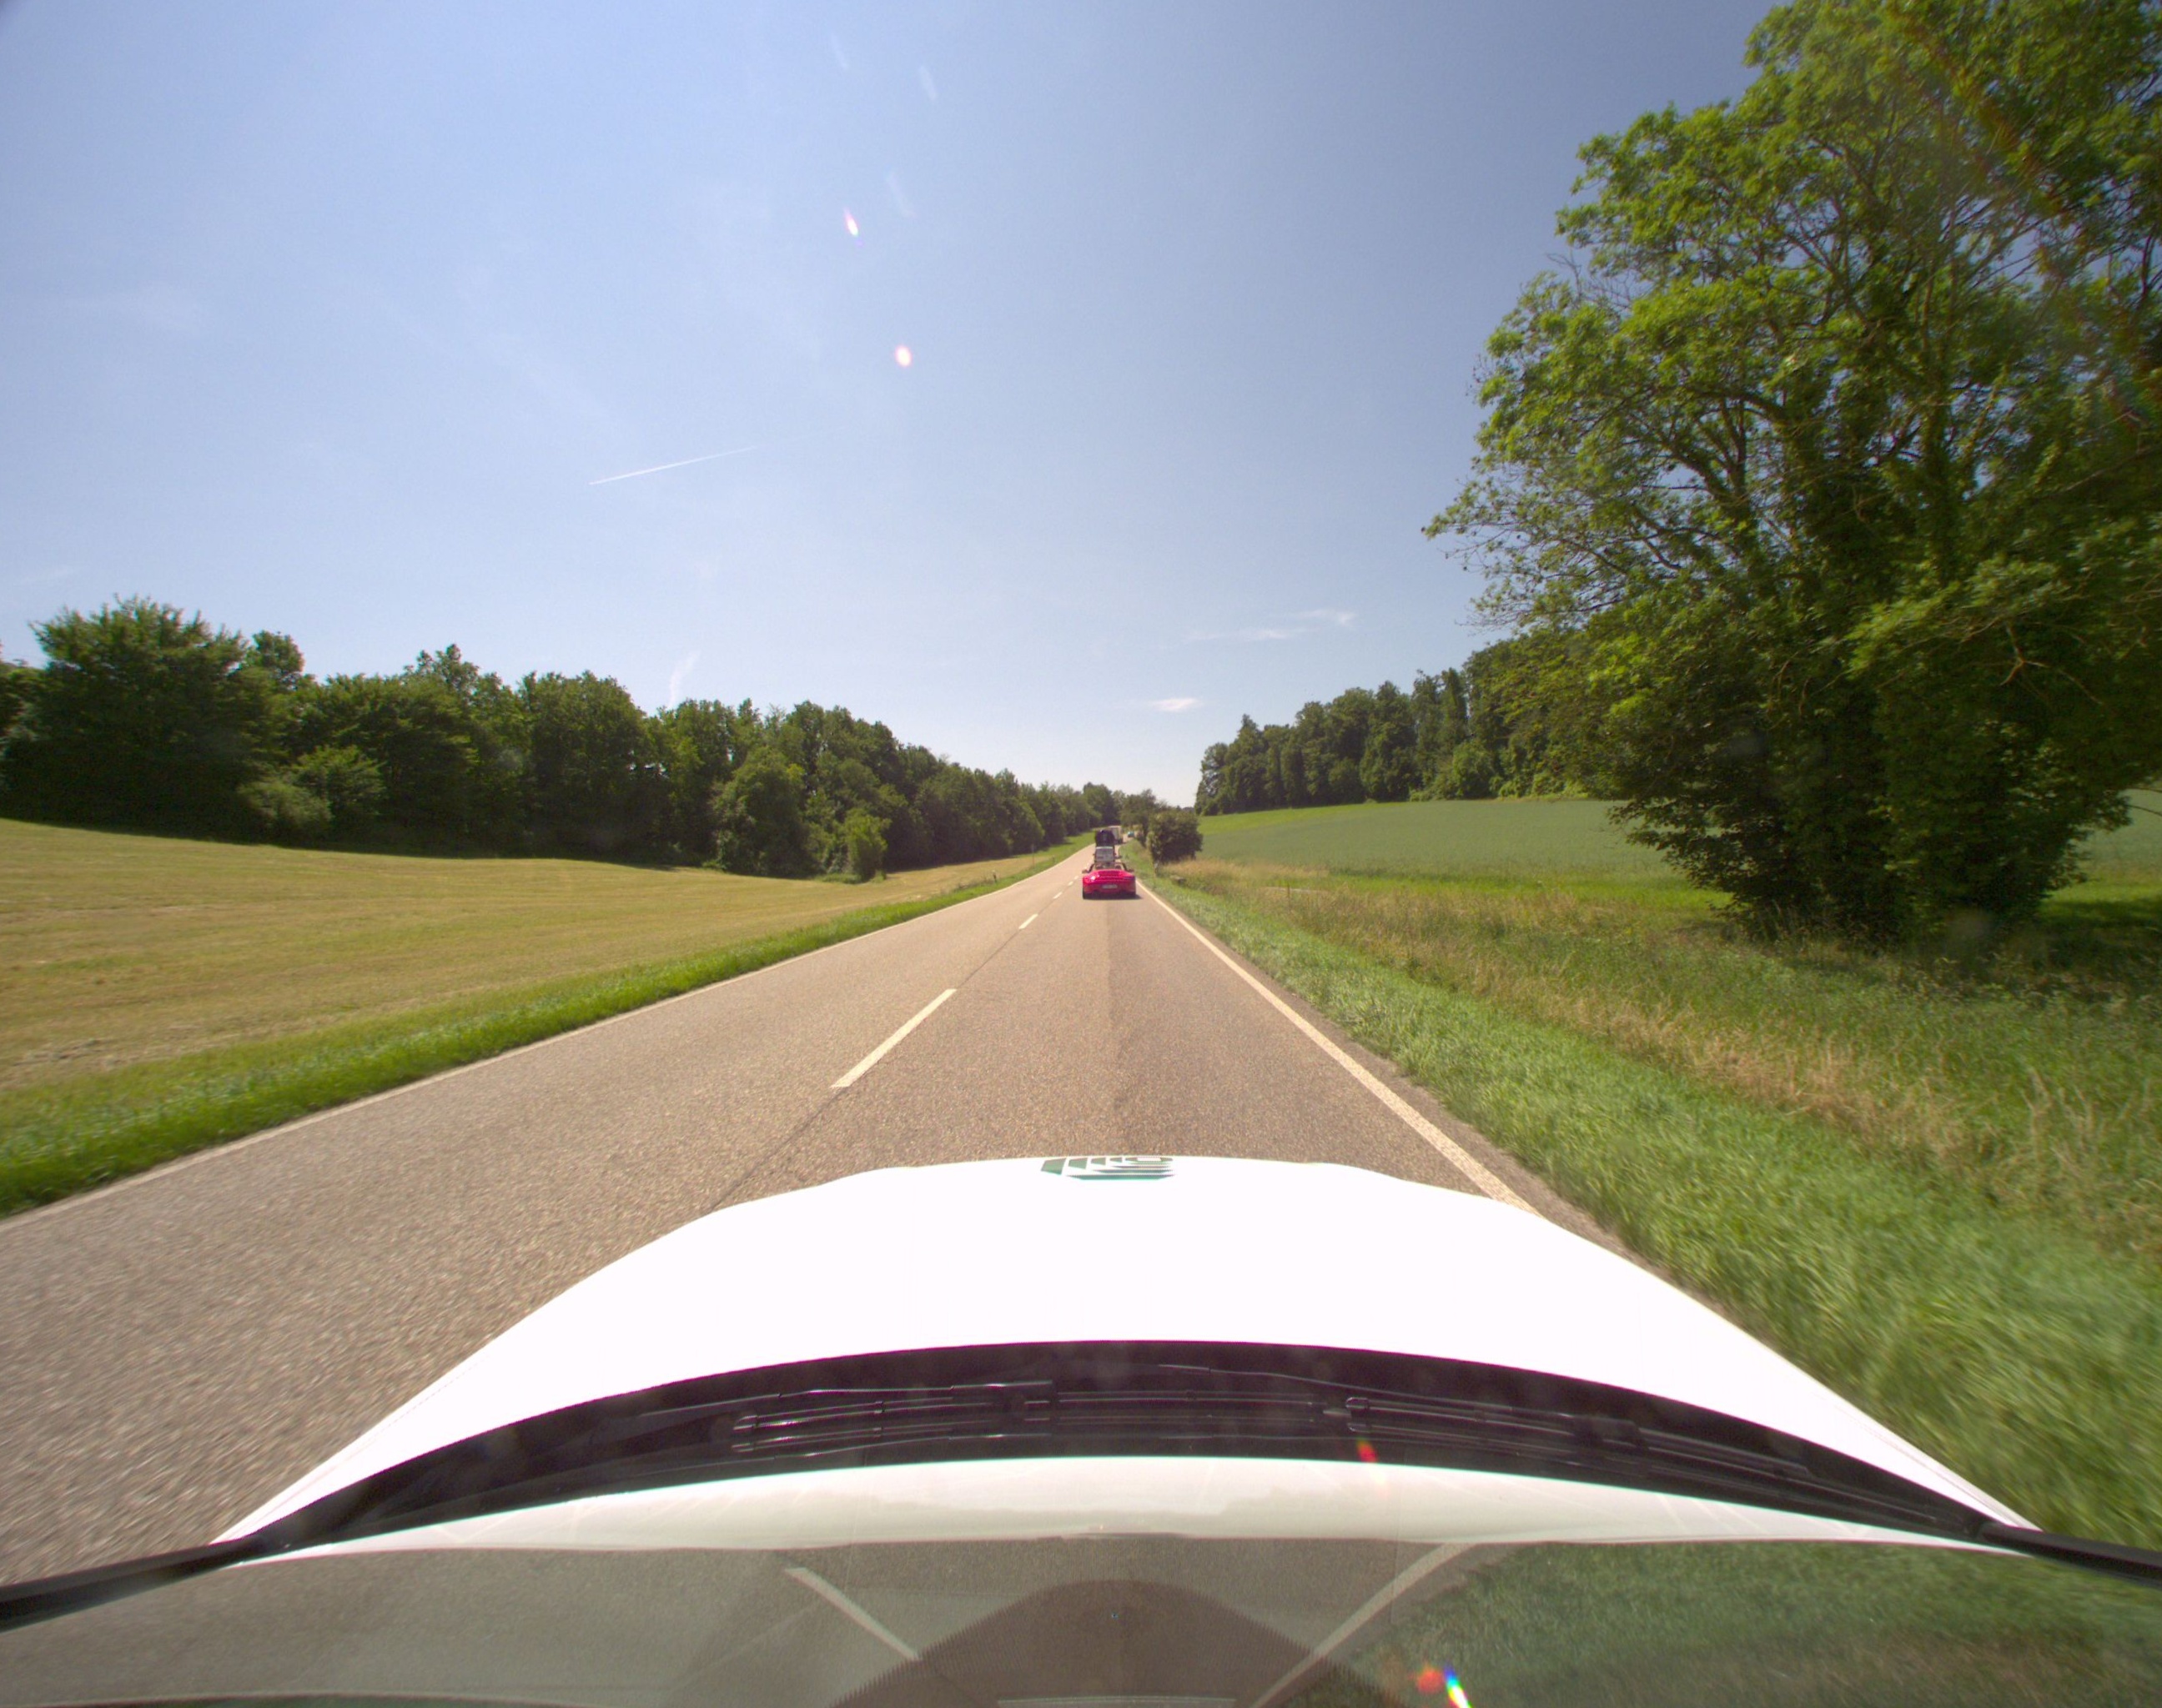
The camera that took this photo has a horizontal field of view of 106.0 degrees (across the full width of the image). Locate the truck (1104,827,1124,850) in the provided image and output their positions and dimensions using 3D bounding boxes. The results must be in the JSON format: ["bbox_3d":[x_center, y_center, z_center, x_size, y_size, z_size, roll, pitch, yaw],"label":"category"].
[{"bbox_3d":[7.798,-3.744,191.013,3.706,4.659,12.057,-2,3,7],"label":"truck"}]

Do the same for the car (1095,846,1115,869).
[{"bbox_3d":[2.130,0.301,73.393,1.672,1.900,4.012,-2,2,2],"label":"car"}]

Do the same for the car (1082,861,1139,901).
[{"bbox_3d":[1.048,0.919,29.351,1.875,1.255,4.011,-2,0,2],"label":"car"}]

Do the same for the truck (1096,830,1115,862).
[{"bbox_3d":[3.271,-0.989,110.197,2.395,4.049,12.552,-1,0,1],"label":"truck"}]

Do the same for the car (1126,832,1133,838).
[{"bbox_3d":[13.649,-5.297,227.619,1.689,1.496,3.719,-5,3,7],"label":"car"}]
